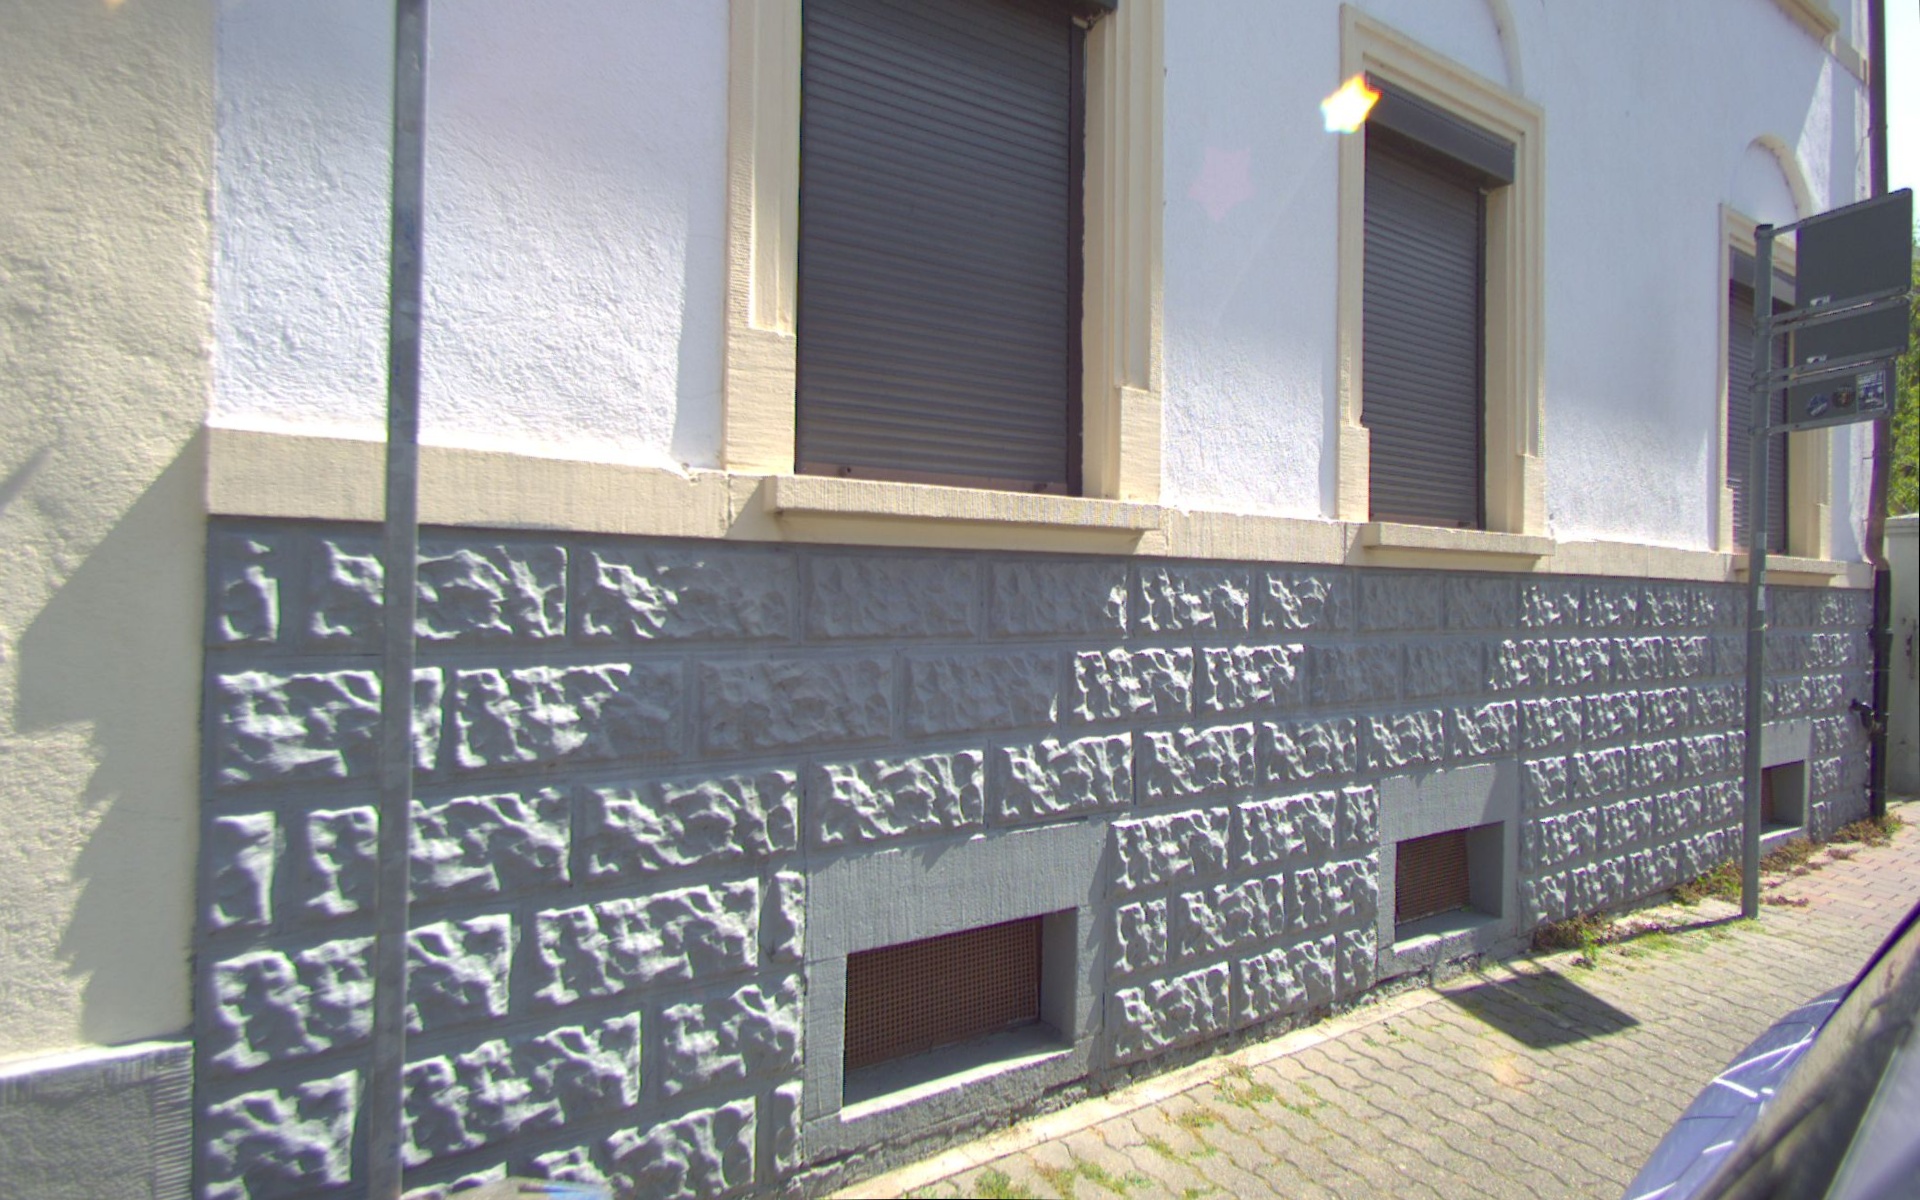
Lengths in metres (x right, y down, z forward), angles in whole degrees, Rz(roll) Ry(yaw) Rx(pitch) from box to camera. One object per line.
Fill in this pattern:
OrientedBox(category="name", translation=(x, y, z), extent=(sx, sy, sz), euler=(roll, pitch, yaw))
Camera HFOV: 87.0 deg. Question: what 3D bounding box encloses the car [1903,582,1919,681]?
OrientedBox(category="car", translation=(17.280, 0.582, 15.028), extent=(1.753, 1.595, 4.460), euler=(1, 2, -31))
